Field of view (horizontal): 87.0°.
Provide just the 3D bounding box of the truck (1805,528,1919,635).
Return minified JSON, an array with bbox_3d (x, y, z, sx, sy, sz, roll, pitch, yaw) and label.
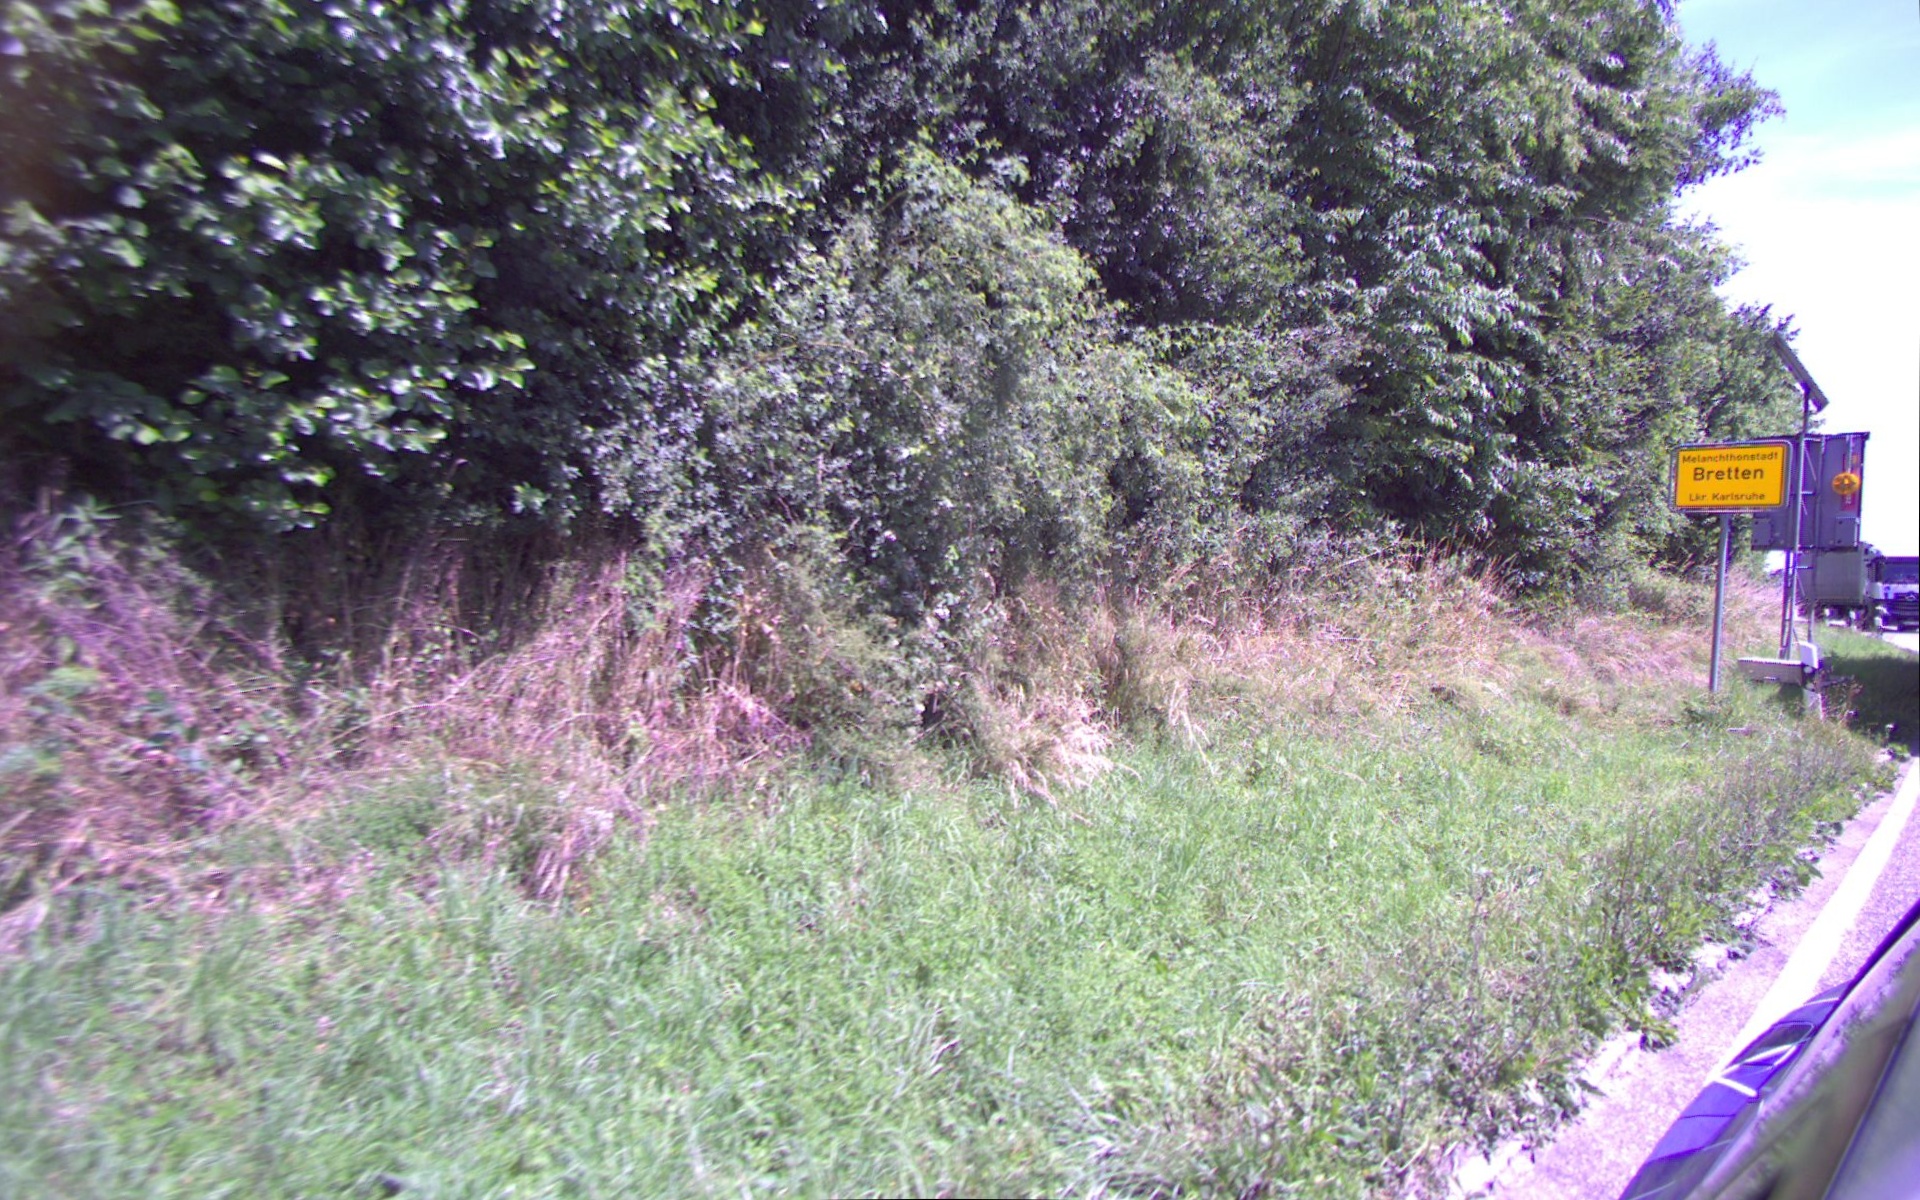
[{"bbox_3d":[45.120,-1.020,49.729,2.959,4.527,16.275,0,2,31],"label":"truck"}]
